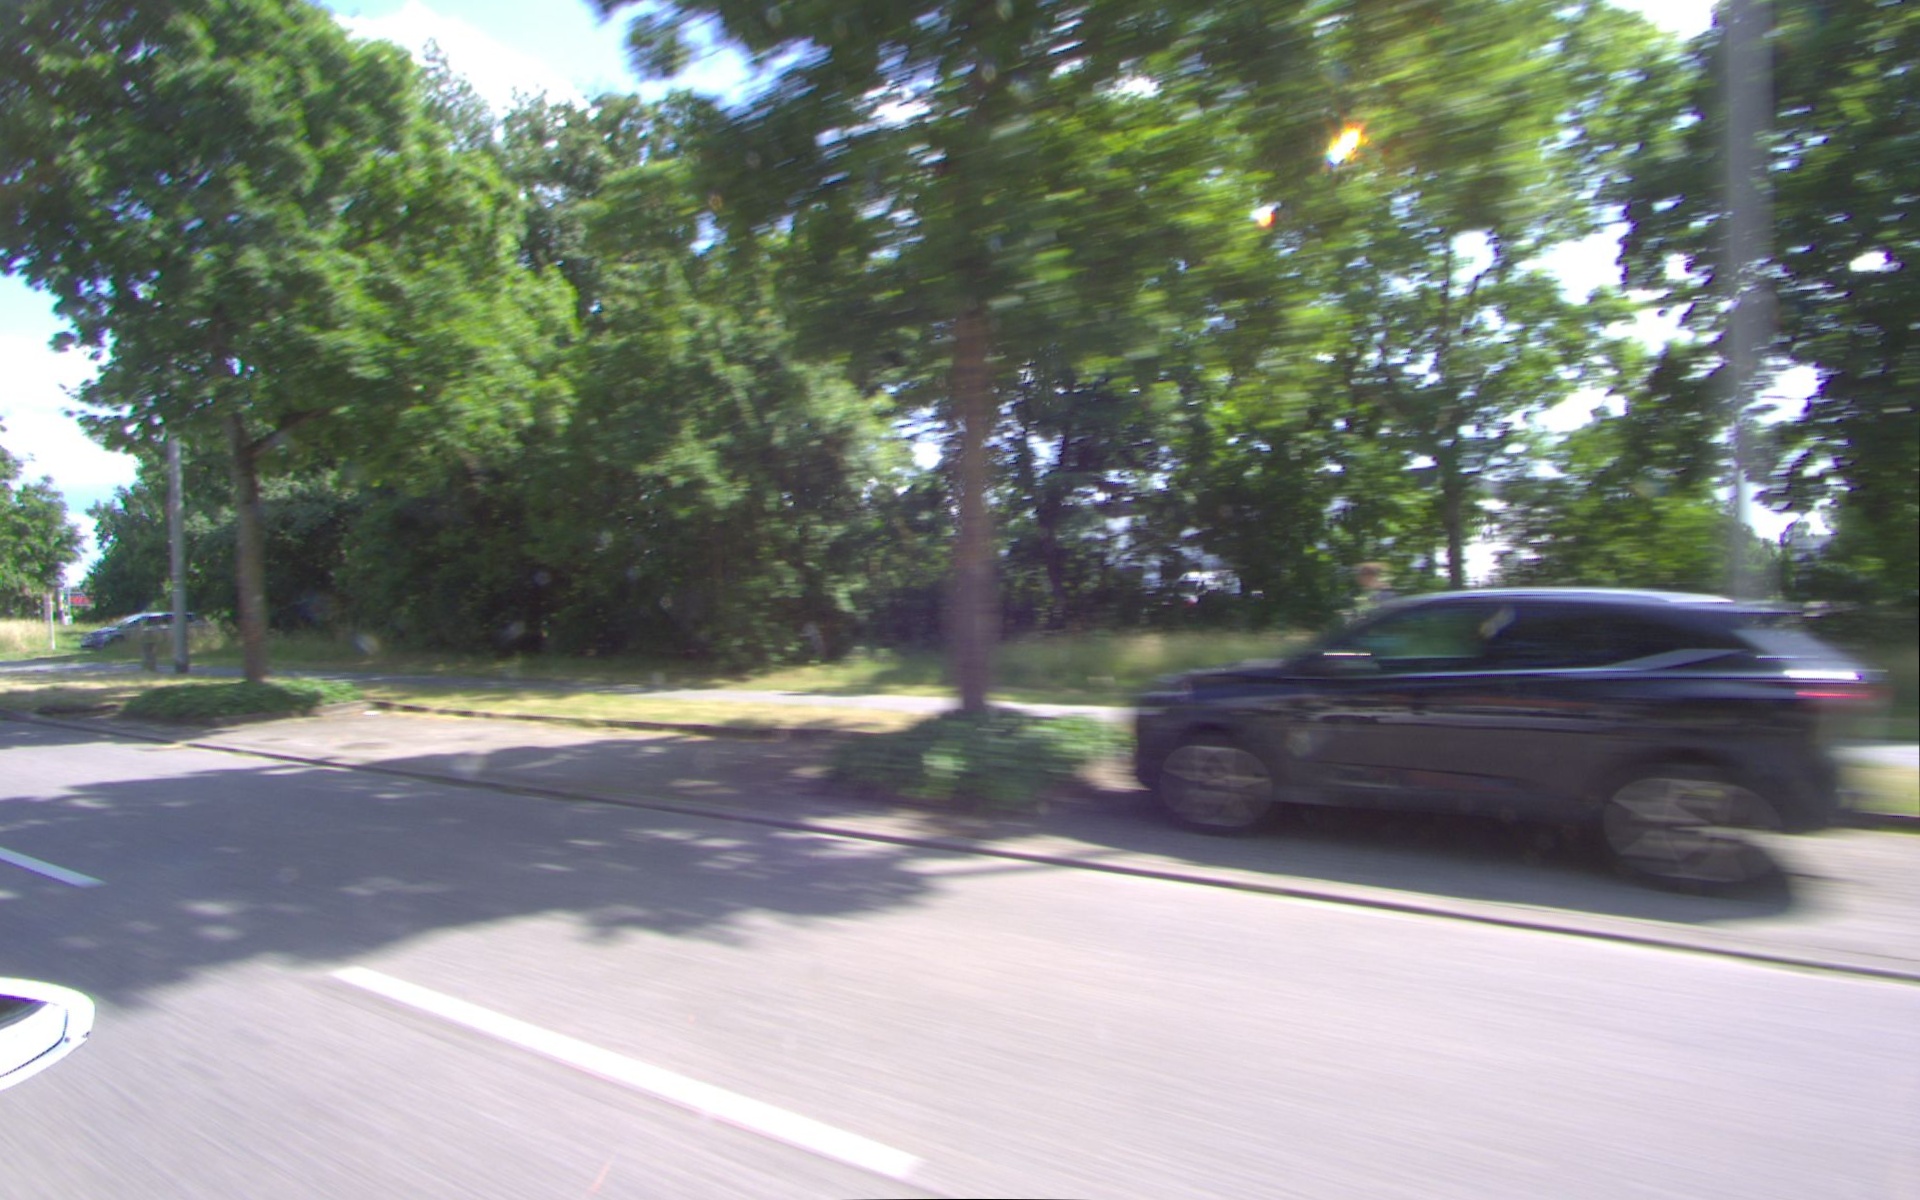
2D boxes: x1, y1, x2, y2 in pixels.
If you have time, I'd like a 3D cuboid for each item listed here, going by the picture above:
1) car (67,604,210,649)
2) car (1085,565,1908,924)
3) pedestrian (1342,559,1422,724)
[{"bbox_3d":[-33.971,1.043,41.534,1.756,1.514,4.157,1,4,27],"label":"car"},{"bbox_3d":[3.132,0.725,6.618,4.301,1.713,1.587,-1,1,33],"label":"car"},{"bbox_3d":[4.868,0.479,11.544,0.729,1.816,0.716,-1,-2,32],"label":"pedestrian"}]
